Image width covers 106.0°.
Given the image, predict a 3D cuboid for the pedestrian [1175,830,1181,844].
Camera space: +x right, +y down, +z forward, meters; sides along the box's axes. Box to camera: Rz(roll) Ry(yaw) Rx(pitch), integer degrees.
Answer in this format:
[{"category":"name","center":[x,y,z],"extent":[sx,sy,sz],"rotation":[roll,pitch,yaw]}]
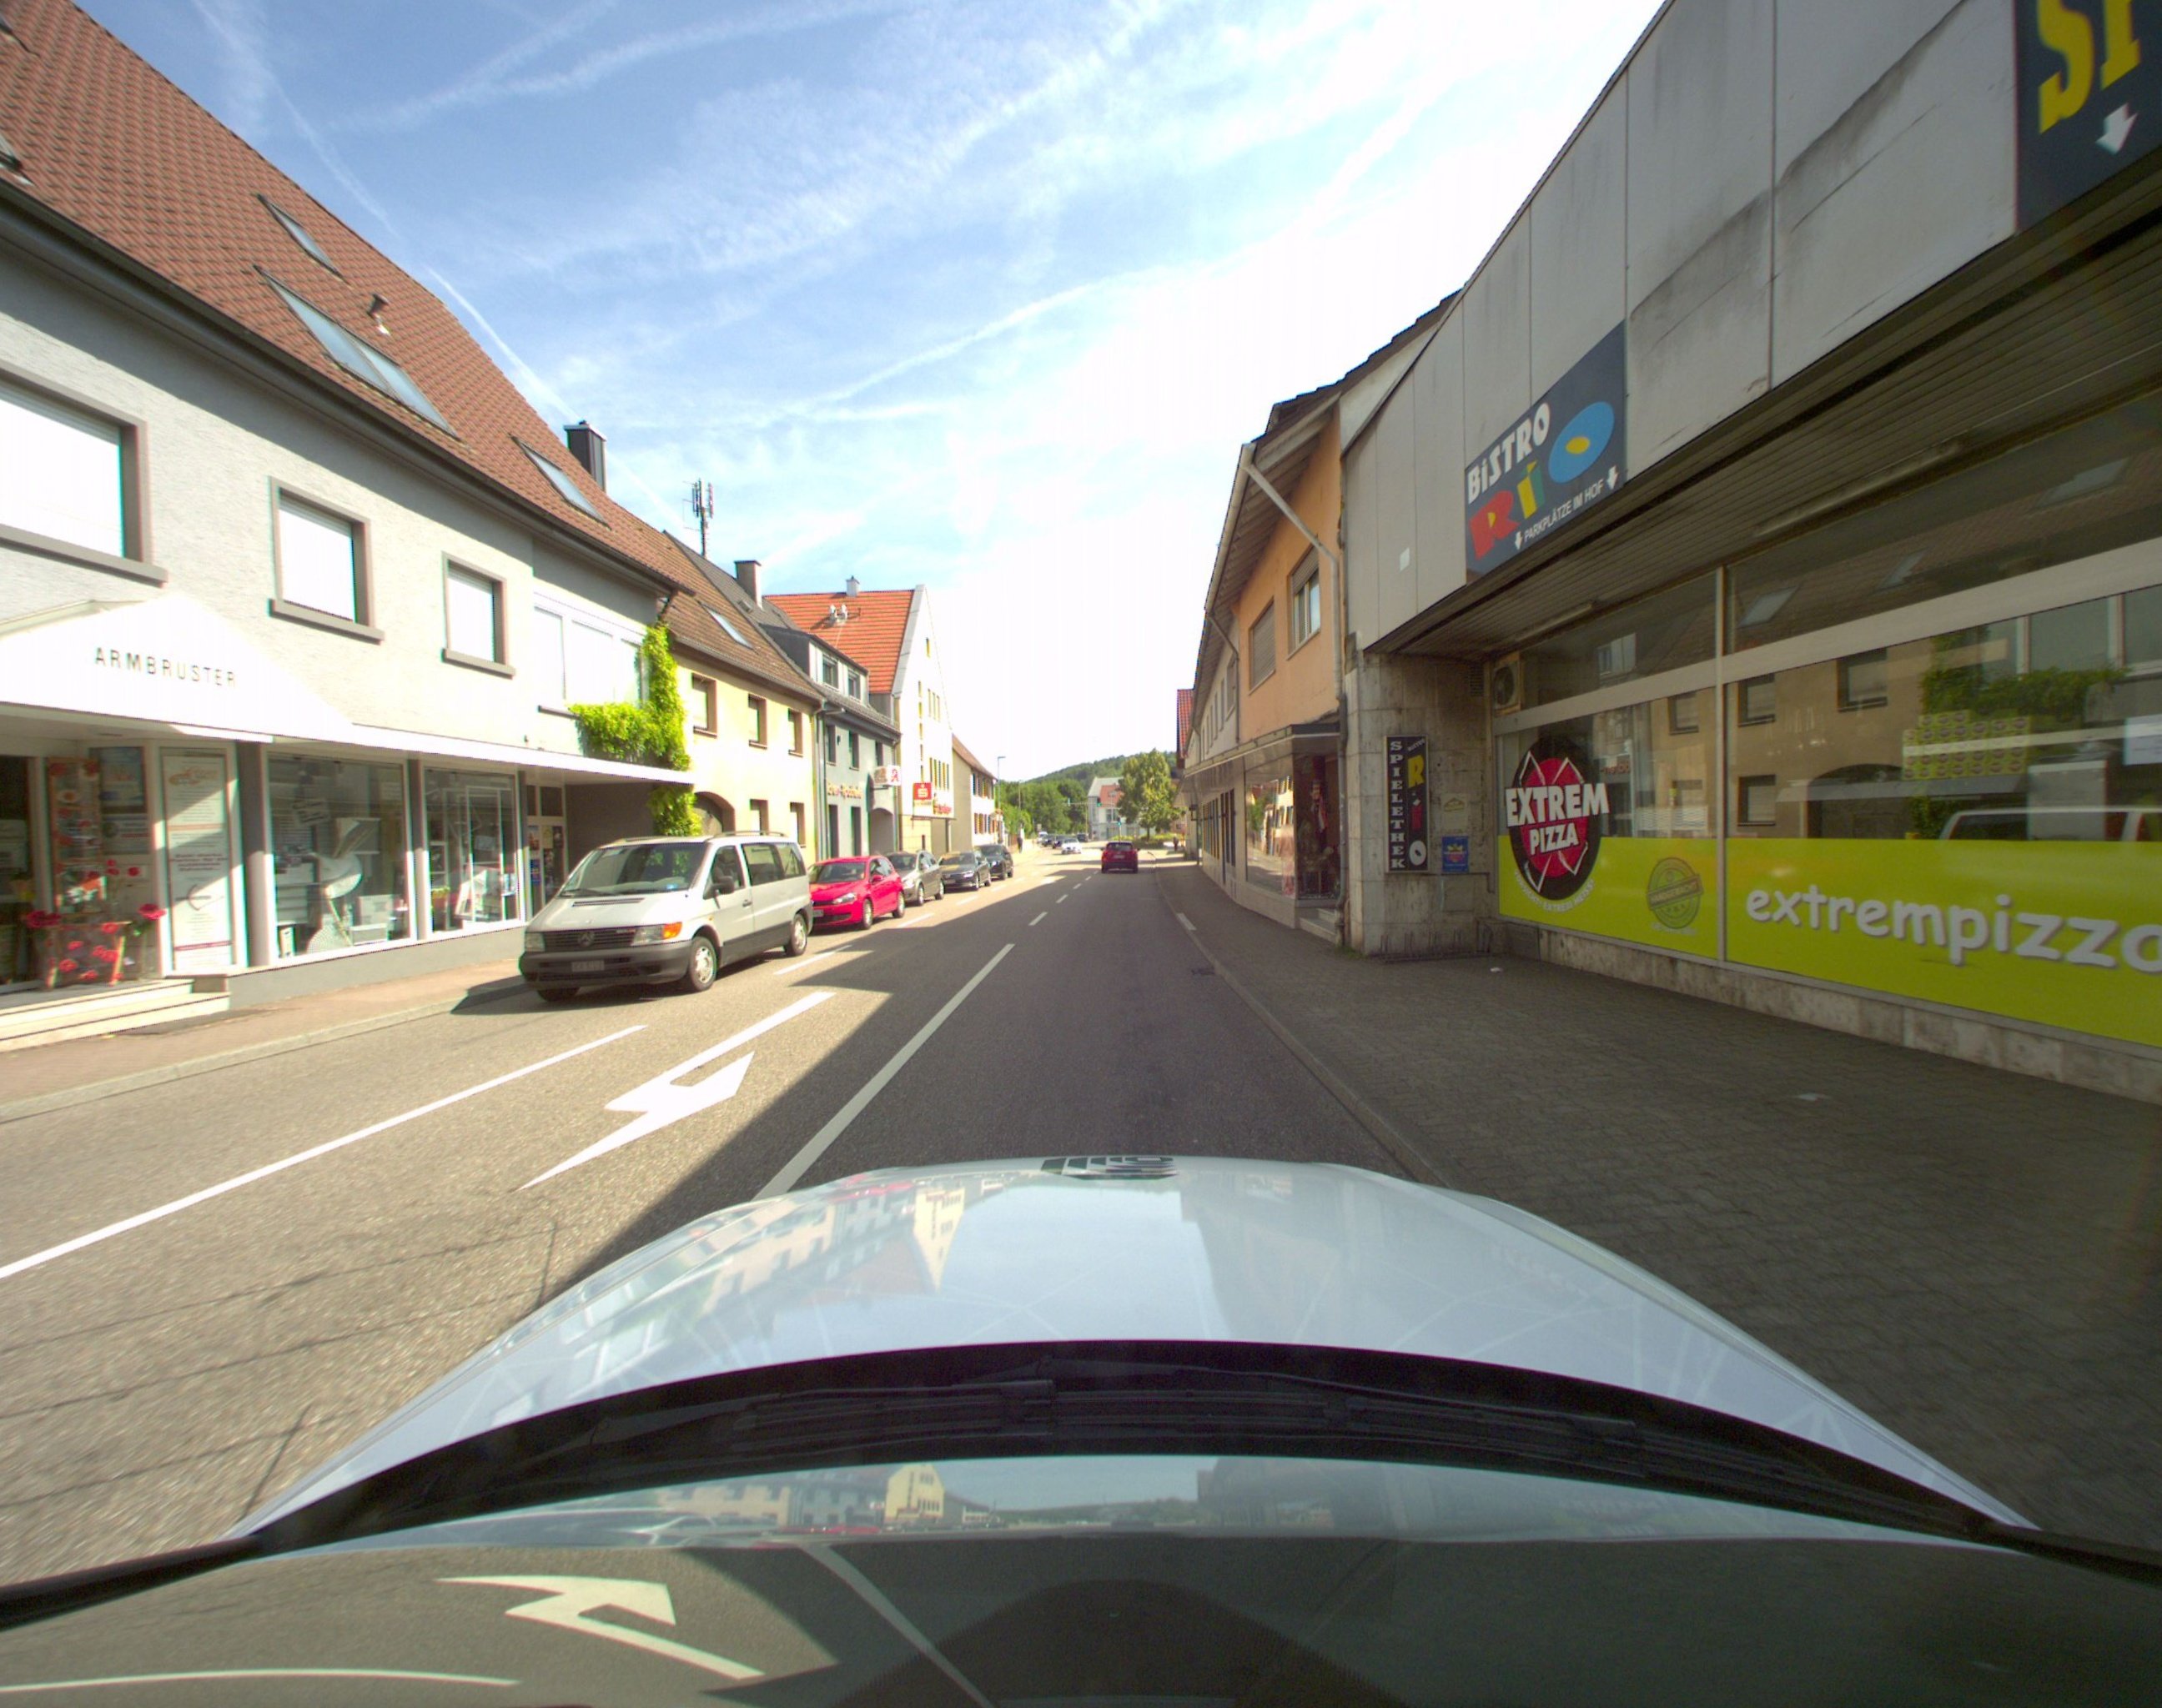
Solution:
[{"category":"pedestrian","center":[12.929,-2.266,108.560],"extent":[0.641,1.879,0.652],"rotation":[-2,-1,-3]}]

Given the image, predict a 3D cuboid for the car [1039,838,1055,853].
[{"category":"car","center":[-4.517,-1.101,109.390],"extent":[1.768,1.784,3.840],"rotation":[-2,-1,2]}]

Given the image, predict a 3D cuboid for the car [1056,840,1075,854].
[{"category":"car","center":[-1.860,-0.861,97.651],"extent":[1.831,1.532,4.258],"rotation":[-2,3,4]}]

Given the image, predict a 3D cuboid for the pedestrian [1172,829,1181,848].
[{"category":"pedestrian","center":[8.761,-1.431,74.989],"extent":[0.641,1.707,0.699],"rotation":[-2,-1,-3]}]

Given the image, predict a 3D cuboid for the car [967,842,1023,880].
[{"category":"car","center":[-3.977,0.289,38.406],"extent":[1.860,1.589,4.522],"rotation":[-3,1,3]}]

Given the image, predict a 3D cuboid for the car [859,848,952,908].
[{"category":"car","center":[-5.066,0.646,24.019],"extent":[1.622,1.520,4.023],"rotation":[-3,1,3]}]

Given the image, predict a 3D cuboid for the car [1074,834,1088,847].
[{"category":"car","center":[0.040,-2.071,126.871],"extent":[1.923,1.794,3.960],"rotation":[-2,-1,4]}]

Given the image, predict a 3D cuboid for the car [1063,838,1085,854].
[{"category":"car","center":[-0.689,-0.769,77.831],"extent":[1.982,1.444,5.097],"rotation":[-2,1,-2]}]

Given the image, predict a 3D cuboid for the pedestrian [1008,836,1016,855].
[{"category":"pedestrian","center":[-6.759,-0.810,79.491],"extent":[0.664,1.824,0.798],"rotation":[-2,-1,-3]}]

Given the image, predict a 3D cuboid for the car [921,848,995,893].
[{"category":"car","center":[-4.495,0.552,30.412],"extent":[1.781,1.450,4.428],"rotation":[-3,1,3]}]

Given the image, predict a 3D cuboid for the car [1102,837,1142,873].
[{"category":"car","center":[2.168,0.011,41.903],"extent":[1.850,1.714,4.429],"rotation":[0,1,5]}]

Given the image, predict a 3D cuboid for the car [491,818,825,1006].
[{"category":"car","center":[-5.175,0.583,10.865],"extent":[1.876,1.890,4.553],"rotation":[-3,1,1]}]

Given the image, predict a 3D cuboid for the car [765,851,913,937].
[{"category":"car","center":[-4.977,0.747,17.349],"extent":[1.752,1.492,4.078],"rotation":[-3,1,1]}]
